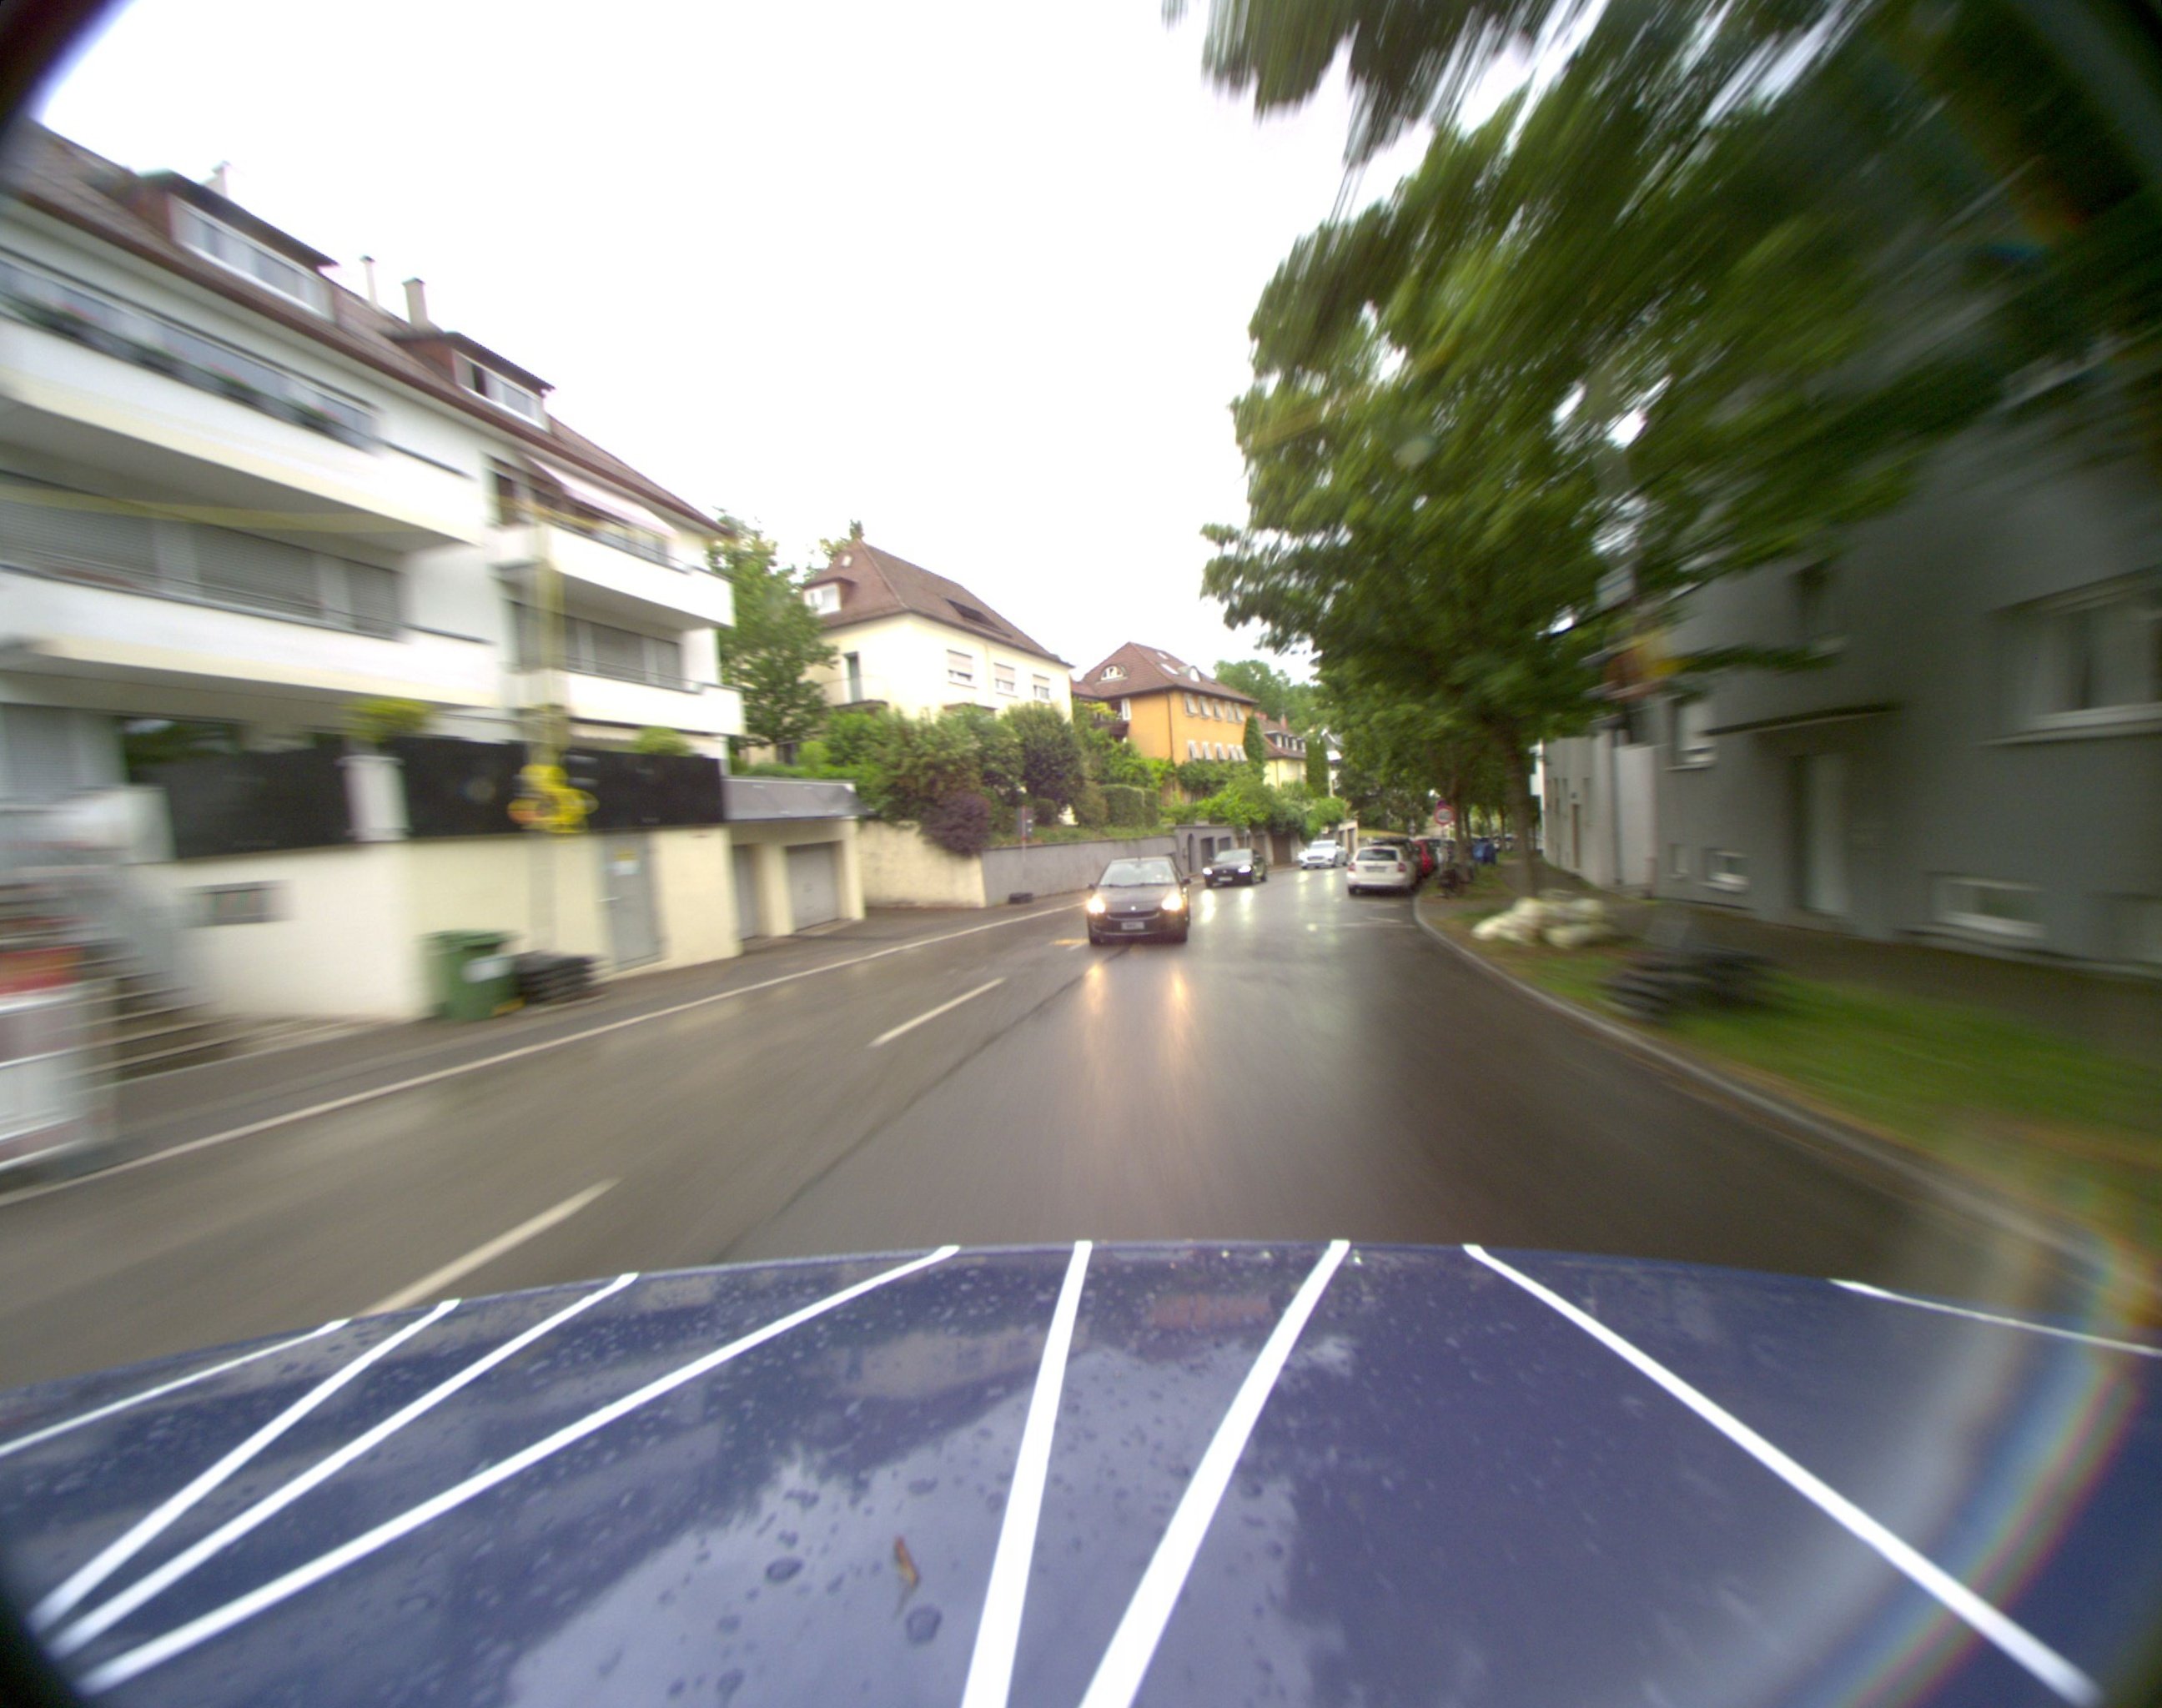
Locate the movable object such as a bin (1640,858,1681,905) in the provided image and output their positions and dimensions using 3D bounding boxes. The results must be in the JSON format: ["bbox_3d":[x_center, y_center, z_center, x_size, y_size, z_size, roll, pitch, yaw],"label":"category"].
[{"bbox_3d":[12.299,0.573,16.129,0.656,0.945,0.645,-2,1,36],"label":"movable object such as a bin"}]

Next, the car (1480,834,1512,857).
[{"bbox_3d":[33.883,-0.708,62.027,1.592,1.650,3.930,5,5,37],"label":"car"}]

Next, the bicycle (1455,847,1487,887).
[{"bbox_3d":[12.901,0.410,25.135,0.619,1.244,1.909,-2,1,36],"label":"bicycle"}]

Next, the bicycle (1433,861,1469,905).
[{"bbox_3d":[9.699,0.734,19.902,0.435,1.024,1.909,-2,1,38],"label":"bicycle"}]

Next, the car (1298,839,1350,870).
[{"bbox_3d":[14.481,-0.004,45.071,2.008,1.652,4.453,0,2,30],"label":"car"}]

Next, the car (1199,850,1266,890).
[{"bbox_3d":[6.053,0.596,29.962,1.804,1.480,4.024,-1,0,23],"label":"car"}]

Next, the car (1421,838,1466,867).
[{"bbox_3d":[21.477,-0.133,44.895,1.664,1.480,4.483,2,4,35],"label":"car"}]

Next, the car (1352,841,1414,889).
[{"bbox_3d":[11.197,0.347,27.998,1.683,1.599,4.584,-1,1,27],"label":"car"}]

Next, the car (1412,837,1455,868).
[{"bbox_3d":[18.821,-0.122,40.508,1.556,1.502,3.390,2,3,33],"label":"car"}]

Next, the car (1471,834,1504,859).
[{"bbox_3d":[30.722,-0.589,57.380,1.618,1.650,3.931,3,4,36],"label":"car"}]

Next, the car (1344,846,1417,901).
[{"bbox_3d":[9.322,0.529,23.463,1.683,1.500,4.323,0,1,27],"label":"car"}]

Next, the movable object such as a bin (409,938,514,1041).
[{"bbox_3d":[-6.938,1.490,8.525,0.720,1.026,0.593,-2,1,21],"label":"movable object such as a bin"}]

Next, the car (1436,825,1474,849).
[{"bbox_3d":[23.982,-1.096,48.670,1.574,1.480,3.476,2,3,35],"label":"car"}]

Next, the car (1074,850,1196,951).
[{"bbox_3d":[1.110,0.743,13.771,1.576,1.444,3.589,-2,2,14],"label":"car"}]
